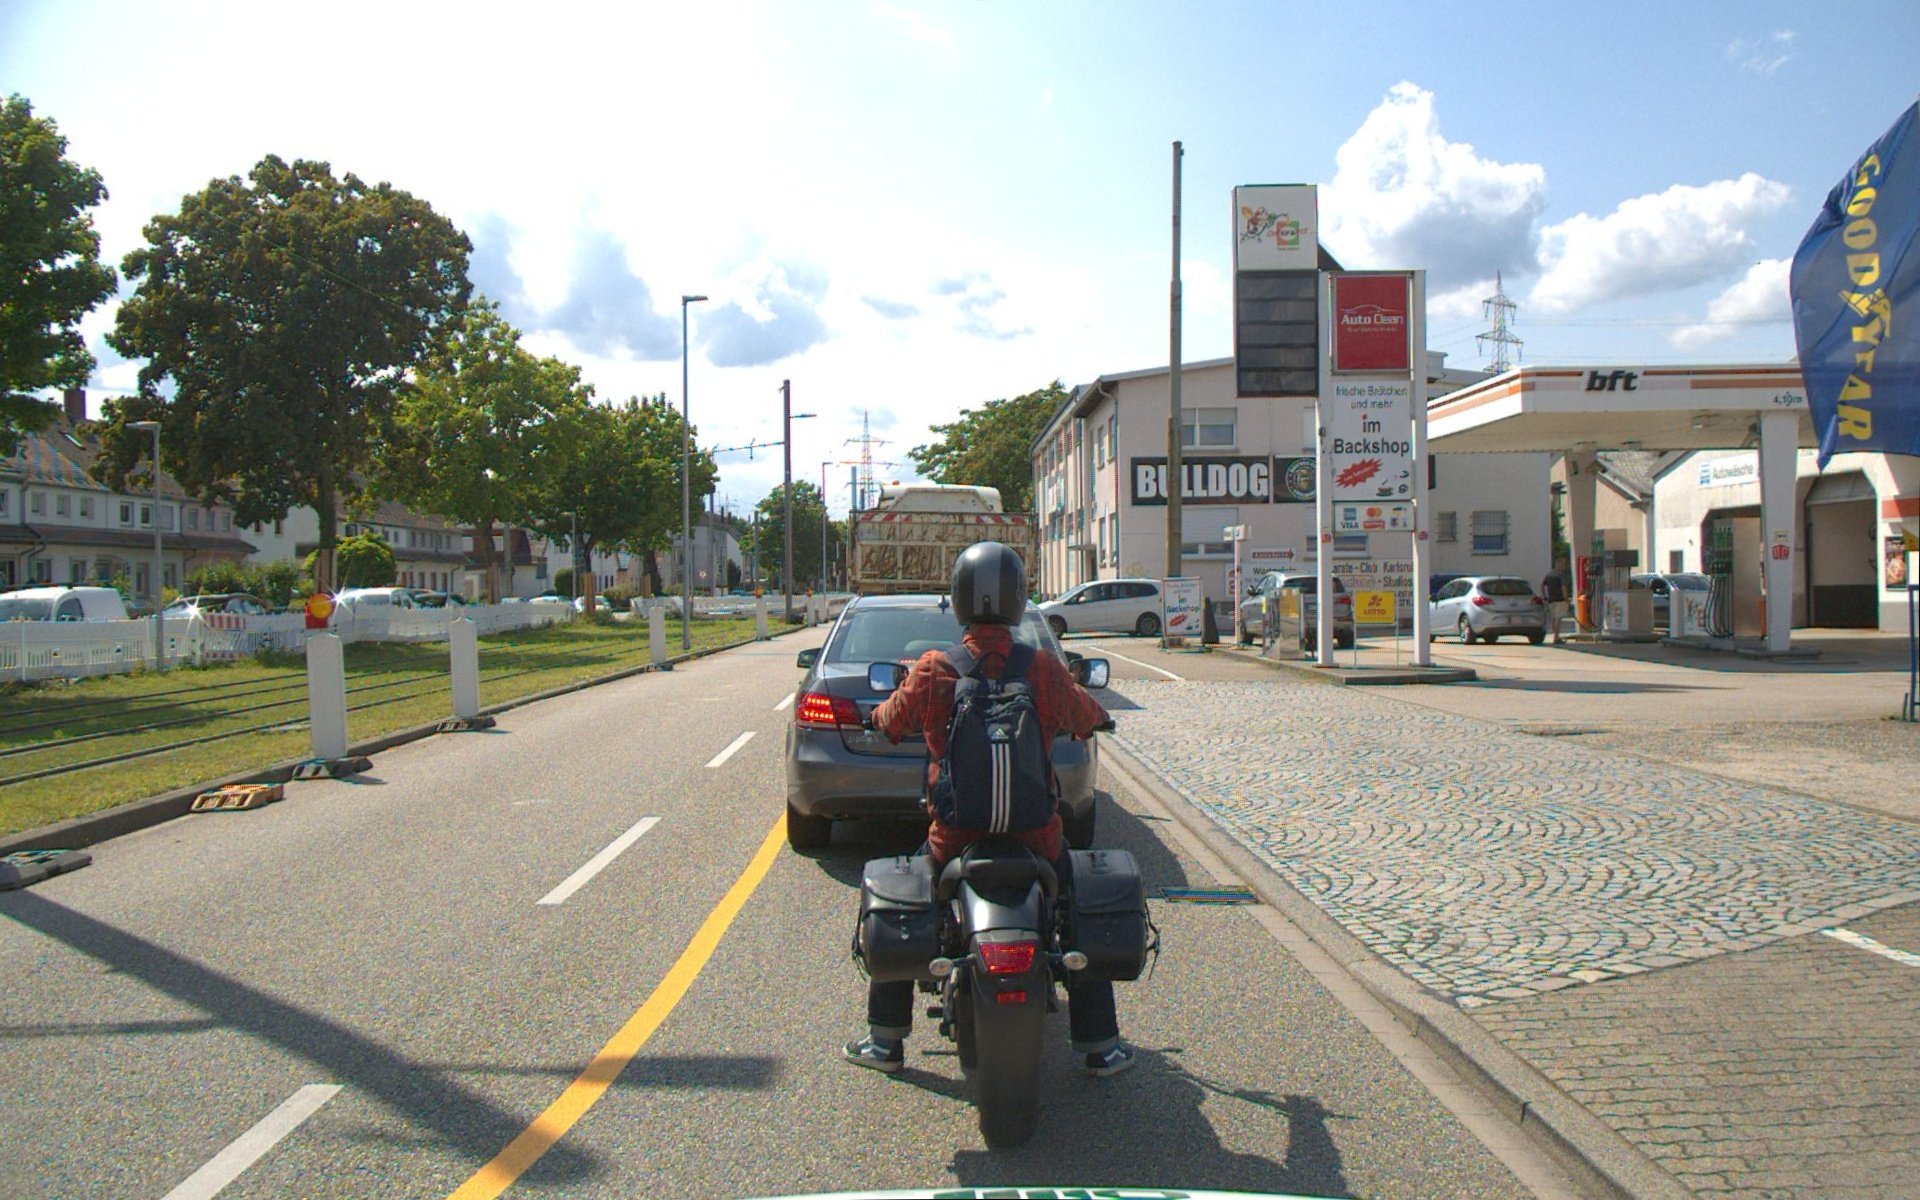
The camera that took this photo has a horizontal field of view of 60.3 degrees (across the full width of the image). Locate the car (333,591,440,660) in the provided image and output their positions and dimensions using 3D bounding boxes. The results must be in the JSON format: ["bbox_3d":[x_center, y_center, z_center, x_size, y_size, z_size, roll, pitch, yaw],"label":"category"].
[{"bbox_3d":[-16.942,0.711,49.085,1.740,1.900,4.127,-1,0,-1],"label":"car"}]

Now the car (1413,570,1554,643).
[{"bbox_3d":[11.719,0.117,37.269,1.770,1.529,3.831,-1,0,-3],"label":"car"}]

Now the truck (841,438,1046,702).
[{"bbox_3d":[-0.265,-0.427,25.369,2.585,3.354,8.055,-1,0,-1],"label":"truck"}]

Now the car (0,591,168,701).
[{"bbox_3d":[-16.468,0.779,30.392,1.740,1.853,4.363,-1,0,-1],"label":"car"}]

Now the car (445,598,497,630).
[{"bbox_3d":[-28.302,0.774,95.838,1.740,1.753,4.127,-1,0,-1],"label":"car"}]

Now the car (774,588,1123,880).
[{"bbox_3d":[-0.087,0.684,10.576,1.786,1.478,3.999,1,0,-1],"label":"car"}]

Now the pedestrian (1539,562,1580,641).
[{"bbox_3d":[12.951,0.028,35.716,0.696,1.685,0.546,-1,0,35],"label":"pedestrian"}]

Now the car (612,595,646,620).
[{"bbox_3d":[-24.966,0.545,124.855,1.740,1.753,4.127,-1,0,-1],"label":"car"}]

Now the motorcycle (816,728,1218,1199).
[{"bbox_3d":[0.121,0.992,5.327,0.959,0.913,2.653,-1,0,-1],"label":"motorcycle"}]

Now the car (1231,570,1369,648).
[{"bbox_3d":[7.455,0.173,36.634,1.636,1.589,4.236,-1,0,-8],"label":"car"}]

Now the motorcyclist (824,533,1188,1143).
[{"bbox_3d":[0.119,0.638,5.021,0.959,1.630,1.087,-1,0,-1],"label":"motorcyclist"}]

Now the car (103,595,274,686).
[{"bbox_3d":[-16.675,0.827,35.990,1.740,1.805,4.227,-1,0,-1],"label":"car"}]

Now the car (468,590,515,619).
[{"bbox_3d":[-29.428,0.271,103.955,1.740,1.753,4.127,-1,0,-1],"label":"car"}]

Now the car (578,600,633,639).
[{"bbox_3d":[-17.057,0.906,79.688,1.740,1.753,4.127,-1,0,-1],"label":"car"}]

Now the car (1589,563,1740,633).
[{"bbox_3d":[16.457,-0.052,38.826,1.770,1.529,3.832,-1,0,-3],"label":"car"}]

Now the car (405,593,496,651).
[{"bbox_3d":[-16.974,0.695,55.264,1.740,1.837,4.127,-1,0,-1],"label":"car"}]

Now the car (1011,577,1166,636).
[{"bbox_3d":[3.638,0.180,47.112,4.152,1.570,1.669,-1,0,-9],"label":"car"}]
